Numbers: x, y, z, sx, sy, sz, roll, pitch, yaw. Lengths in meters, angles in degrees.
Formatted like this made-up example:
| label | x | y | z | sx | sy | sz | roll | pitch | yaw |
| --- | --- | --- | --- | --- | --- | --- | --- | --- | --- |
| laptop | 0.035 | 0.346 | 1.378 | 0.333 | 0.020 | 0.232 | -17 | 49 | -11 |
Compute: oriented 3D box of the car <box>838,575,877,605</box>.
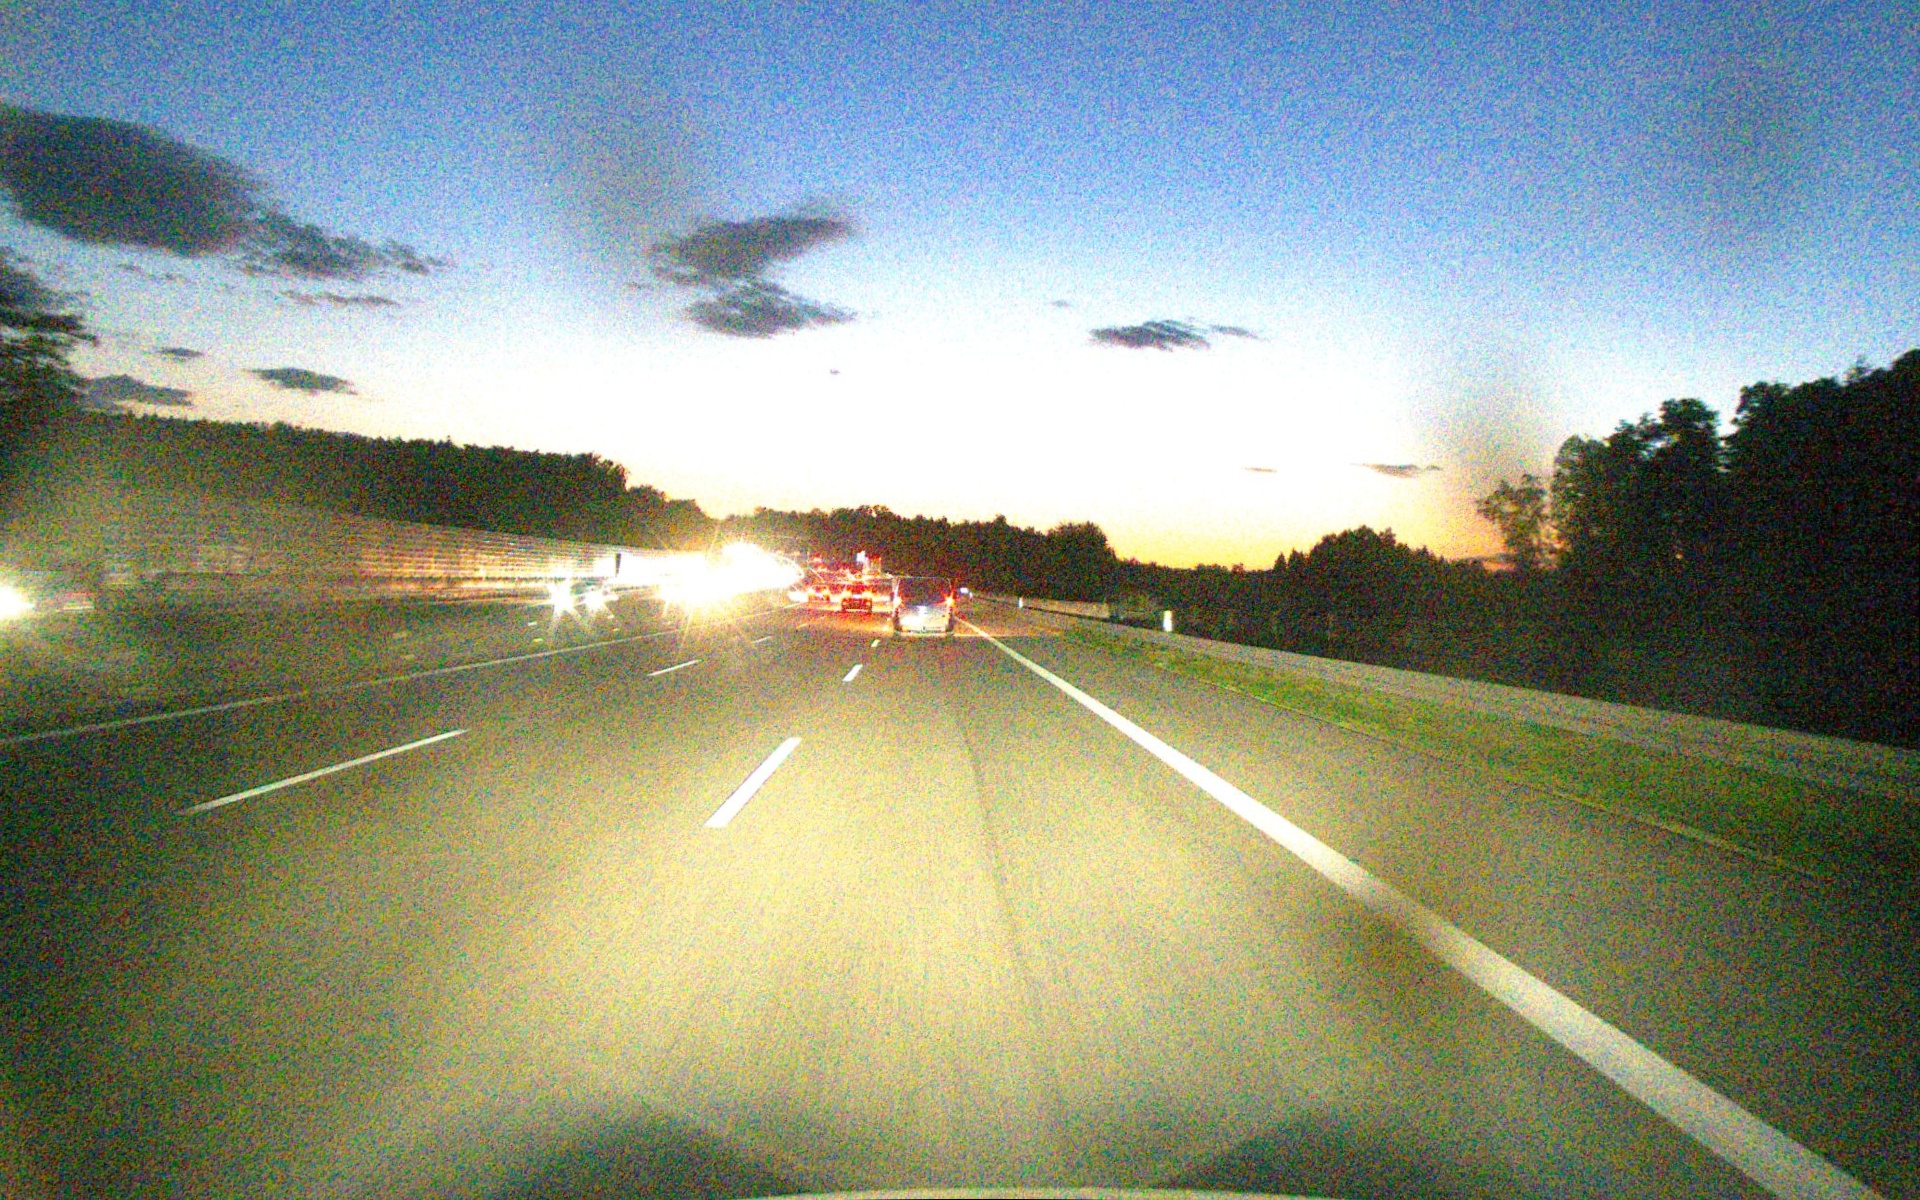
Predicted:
| label | x | y | z | sx | sy | sz | roll | pitch | yaw |
| --- | --- | --- | --- | --- | --- | --- | --- | --- | --- |
| car | -6.281 | -0.573 | 101.599 | 1.952 | 1.751 | 5.942 | 0 | -1 | 0 |

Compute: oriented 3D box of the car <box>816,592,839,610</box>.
| label | x | y | z | sx | sy | sz | roll | pitch | yaw |
| --- | --- | --- | --- | --- | --- | --- | --- | --- | --- |
| car | -10.797 | 0.097 | 134.962 | 1.518 | 1.456 | 5.512 | 1 | -1 | -1 |

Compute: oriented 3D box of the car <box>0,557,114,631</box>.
| label | x | y | z | sx | sy | sz | roll | pitch | yaw |
| --- | --- | --- | --- | --- | --- | --- | --- | --- | --- |
| car | -23.336 | -0.157 | 40.919 | 2.062 | 1.717 | 5.385 | 1 | 0 | -1 |

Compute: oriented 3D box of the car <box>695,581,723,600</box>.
| label | x | y | z | sx | sy | sz | roll | pitch | yaw |
| --- | --- | --- | --- | --- | --- | --- | --- | --- | --- |
| car | -25.053 | -0.939 | 165.244 | 2.062 | 1.820 | 4.650 | 1 | 0 | -1 |

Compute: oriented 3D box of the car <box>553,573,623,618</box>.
| label | x | y | z | sx | sy | sz | roll | pitch | yaw |
| --- | --- | --- | --- | --- | --- | --- | --- | --- | --- |
| car | -16.072 | -0.179 | 71.615 | 2.062 | 1.820 | 4.318 | 1 | 0 | -1 |

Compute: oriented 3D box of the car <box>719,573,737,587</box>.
| label | x | y | z | sx | sy | sz | roll | pitch | yaw |
| --- | --- | --- | --- | --- | --- | --- | --- | --- | --- |
| car | -32.317 | -2.793 | 230.277 | 2.062 | 1.820 | 4.648 | 1 | 0 | -3 |

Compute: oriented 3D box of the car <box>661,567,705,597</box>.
| label | x | y | z | sx | sy | sz | roll | pitch | yaw |
| --- | --- | --- | --- | --- | --- | --- | --- | --- | --- |
| car | -18.002 | -1.193 | 107.839 | 2.062 | 1.820 | 4.869 | 1 | 1 | -1 |

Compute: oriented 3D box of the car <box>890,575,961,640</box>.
| label | x | y | z | sx | sy | sz | roll | pitch | yaw |
| --- | --- | --- | --- | --- | --- | --- | --- | --- | --- |
| car | -1.158 | 0.219 | 53.379 | 2.153 | 1.989 | 4.761 | 1 | 0 | -3 |
